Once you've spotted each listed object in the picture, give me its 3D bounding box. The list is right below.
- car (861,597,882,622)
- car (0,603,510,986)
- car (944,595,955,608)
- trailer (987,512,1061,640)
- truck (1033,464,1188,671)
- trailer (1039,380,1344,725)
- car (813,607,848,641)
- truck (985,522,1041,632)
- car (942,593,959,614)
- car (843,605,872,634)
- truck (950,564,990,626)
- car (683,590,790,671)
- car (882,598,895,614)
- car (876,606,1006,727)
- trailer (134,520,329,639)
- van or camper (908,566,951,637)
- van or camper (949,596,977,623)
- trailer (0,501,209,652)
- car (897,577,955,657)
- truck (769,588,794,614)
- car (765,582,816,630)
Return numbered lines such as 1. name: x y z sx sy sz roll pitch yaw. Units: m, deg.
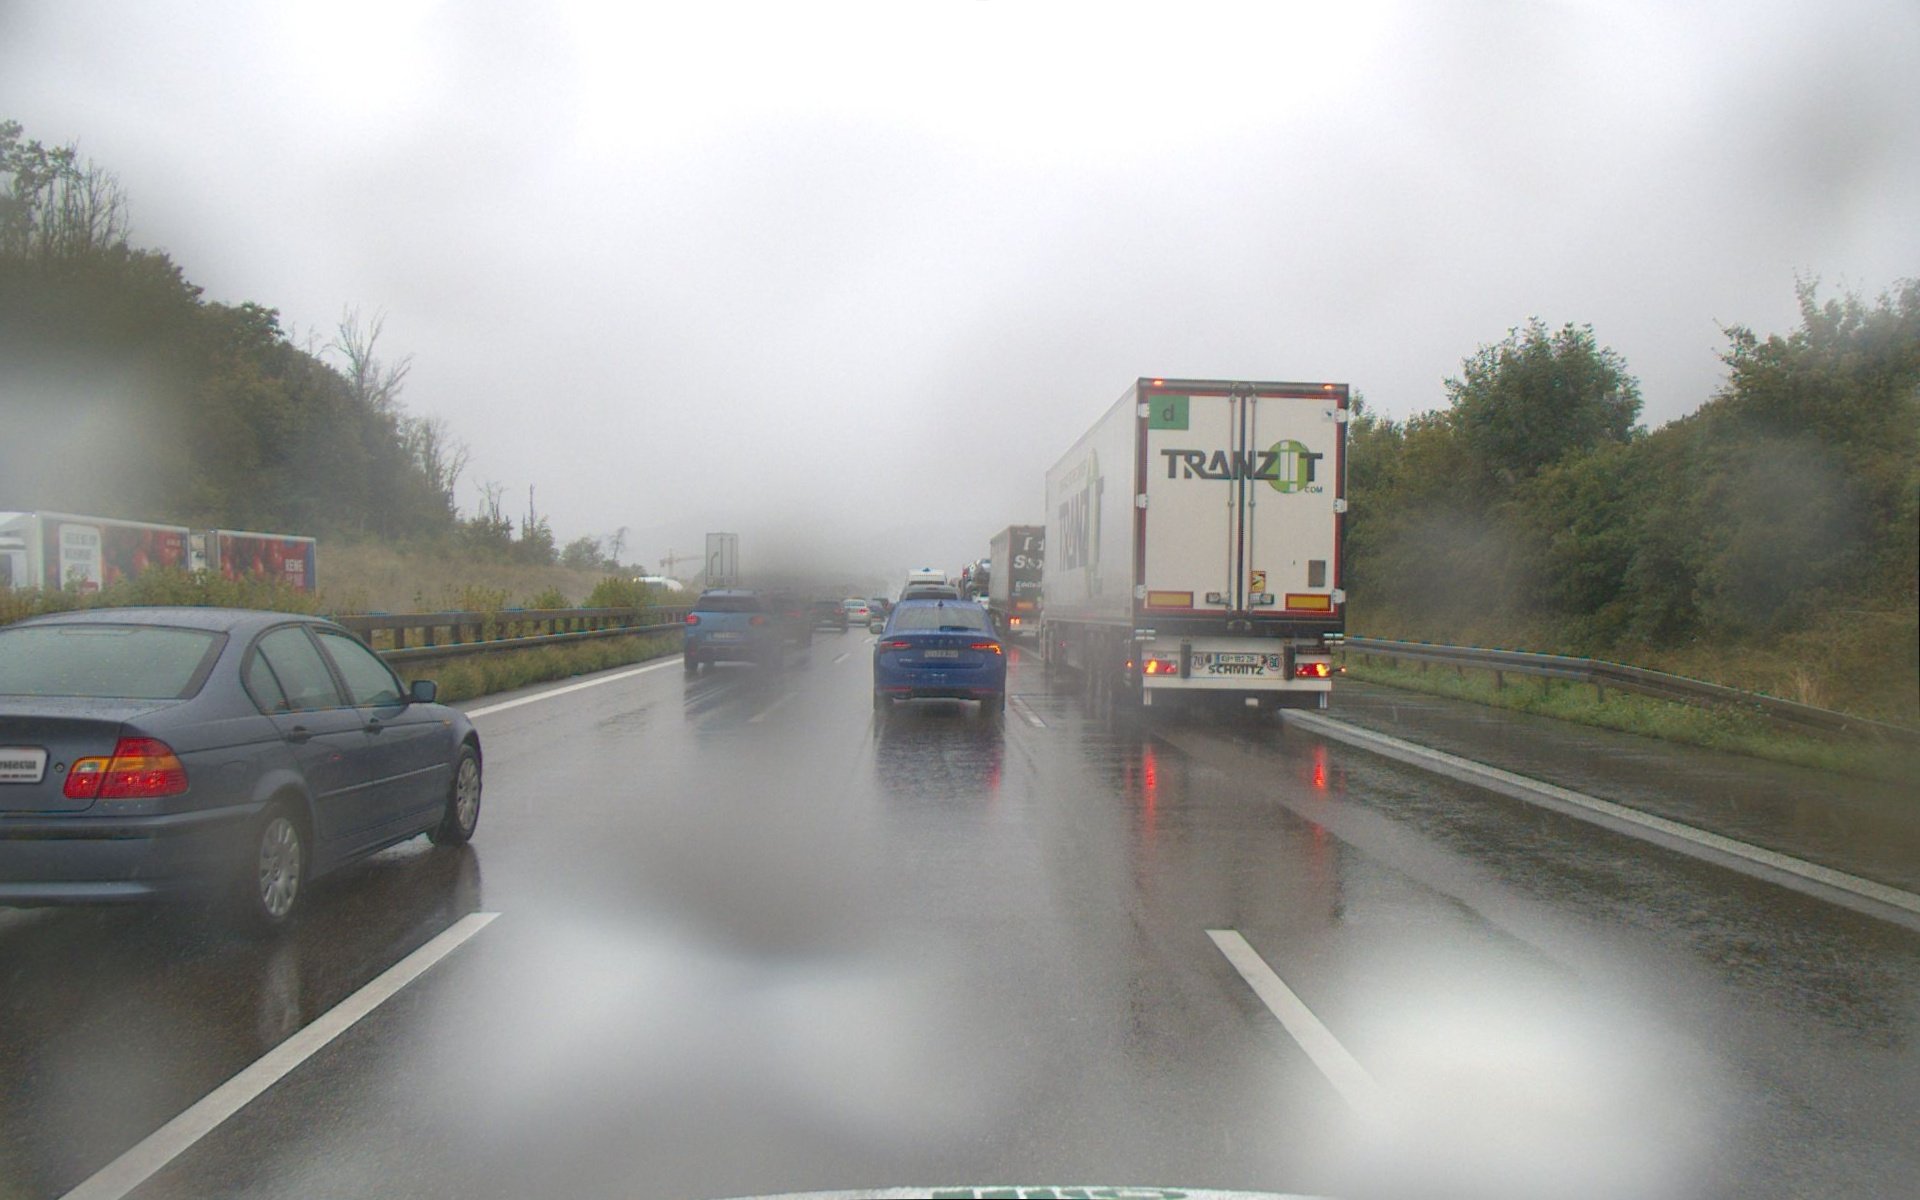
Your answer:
1. car: -6.562 0.723 122.470 1.419 1.815 3.408 1 0 -1
2. car: -3.684 0.737 8.348 1.683 1.424 4.229 0 0 0
3. car: -1.489 0.249 234.480 1.419 1.815 3.408 1 0 -1
4. trailer: 2.230 -0.835 60.743 2.005 4.250 11.445 0 0 -1
5. truck: 2.952 -0.621 33.604 2.577 3.894 4.790 0 0 -1
6. trailer: 3.109 -0.596 26.974 2.577 4.083 14.625 0 0 -1
7. car: -5.855 1.081 74.932 1.410 1.445 3.321 0 0 -1
8. truck: 2.107 -0.896 66.308 2.005 4.266 3.999 0 0 -1
9. car: -0.856 0.352 146.173 1.419 1.815 3.408 1 0 -1
10. car: -5.619 1.059 90.948 1.410 1.560 3.321 0 0 -1
11. truck: 0.546 -0.343 97.778 1.953 3.481 8.028 0 1 -2
12. car: -4.552 0.595 34.163 1.686 1.550 4.000 0 0 0
13. car: -8.099 0.706 187.137 1.419 1.815 3.408 1 0 -1
14. car: -0.249 0.830 22.516 1.602 1.470 3.999 0 0 -1
15. trailer: -21.039 -0.564 48.370 1.953 3.136 8.869 1 0 -1
16. van or camper: -1.292 0.050 69.996 1.761 2.855 4.766 0 0 -1
17. van or camper: 0.173 0.593 107.547 1.736 1.653 4.483 0 1 -2
18. trailer: -20.841 -0.523 39.134 1.953 3.136 9.552 1 0 -1
19. car: -0.817 0.383 39.648 1.309 1.811 3.321 0 0 -1
20. truck: -20.555 0.120 190.600 2.431 2.767 4.527 -1 -1 0
21. car: -5.302 0.185 51.994 1.331 1.456 3.363 0 0 -1
